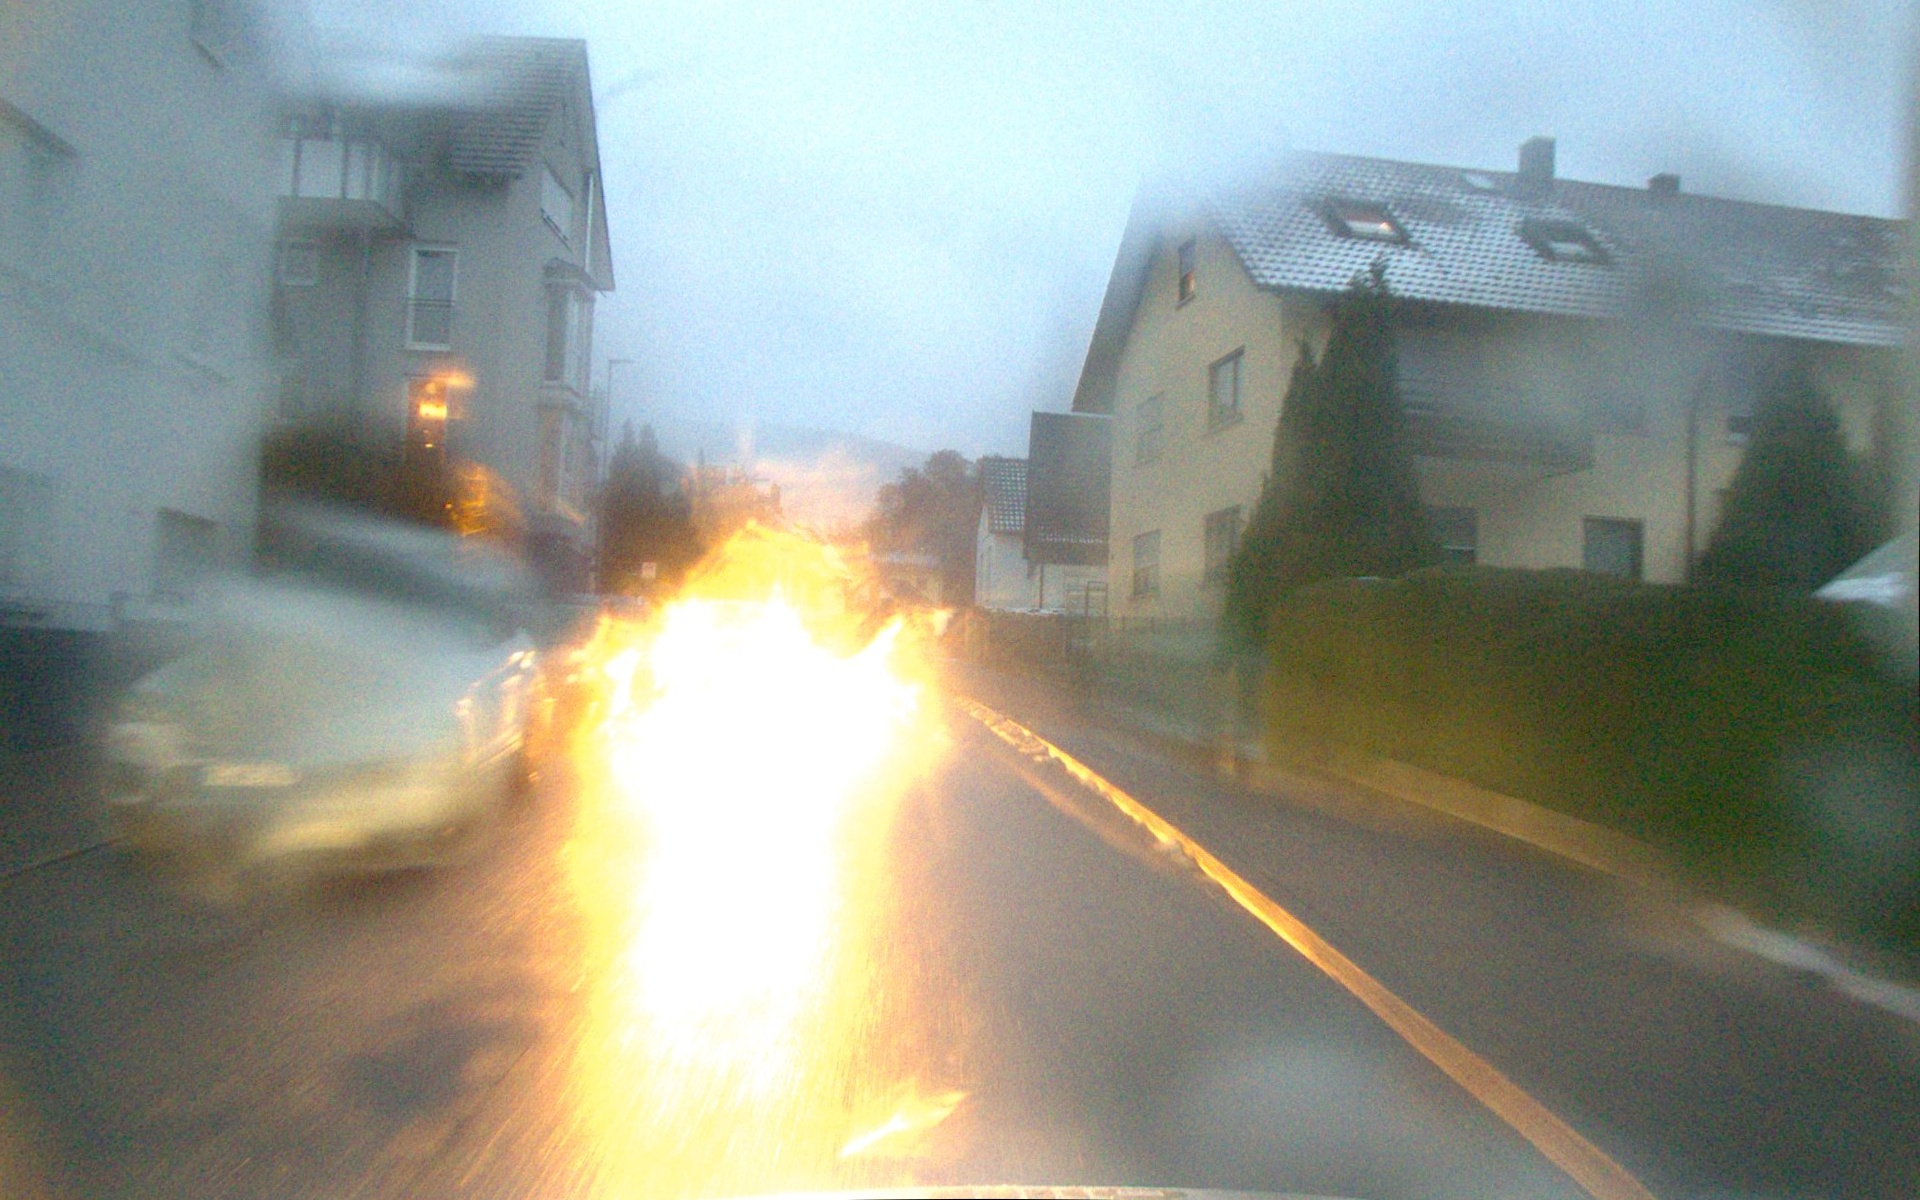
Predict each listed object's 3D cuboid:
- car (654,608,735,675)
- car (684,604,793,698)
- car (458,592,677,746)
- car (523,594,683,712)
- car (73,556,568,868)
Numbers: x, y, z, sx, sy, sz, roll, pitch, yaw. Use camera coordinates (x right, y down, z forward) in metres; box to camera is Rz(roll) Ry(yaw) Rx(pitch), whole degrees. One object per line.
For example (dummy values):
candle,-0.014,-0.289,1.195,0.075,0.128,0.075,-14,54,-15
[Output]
car,-6.394,0.973,40.118,1.633,1.442,3.686,4,-1,-6
car,-3.987,0.847,29.317,1.741,1.521,4.370,1,0,-9
car,-4.119,0.675,17.953,1.700,1.461,4.030,1,0,-5
car,-4.931,0.687,23.332,1.700,1.469,4.433,2,0,-6
car,-3.941,0.614,11.078,1.880,1.652,4.418,1,0,-5
